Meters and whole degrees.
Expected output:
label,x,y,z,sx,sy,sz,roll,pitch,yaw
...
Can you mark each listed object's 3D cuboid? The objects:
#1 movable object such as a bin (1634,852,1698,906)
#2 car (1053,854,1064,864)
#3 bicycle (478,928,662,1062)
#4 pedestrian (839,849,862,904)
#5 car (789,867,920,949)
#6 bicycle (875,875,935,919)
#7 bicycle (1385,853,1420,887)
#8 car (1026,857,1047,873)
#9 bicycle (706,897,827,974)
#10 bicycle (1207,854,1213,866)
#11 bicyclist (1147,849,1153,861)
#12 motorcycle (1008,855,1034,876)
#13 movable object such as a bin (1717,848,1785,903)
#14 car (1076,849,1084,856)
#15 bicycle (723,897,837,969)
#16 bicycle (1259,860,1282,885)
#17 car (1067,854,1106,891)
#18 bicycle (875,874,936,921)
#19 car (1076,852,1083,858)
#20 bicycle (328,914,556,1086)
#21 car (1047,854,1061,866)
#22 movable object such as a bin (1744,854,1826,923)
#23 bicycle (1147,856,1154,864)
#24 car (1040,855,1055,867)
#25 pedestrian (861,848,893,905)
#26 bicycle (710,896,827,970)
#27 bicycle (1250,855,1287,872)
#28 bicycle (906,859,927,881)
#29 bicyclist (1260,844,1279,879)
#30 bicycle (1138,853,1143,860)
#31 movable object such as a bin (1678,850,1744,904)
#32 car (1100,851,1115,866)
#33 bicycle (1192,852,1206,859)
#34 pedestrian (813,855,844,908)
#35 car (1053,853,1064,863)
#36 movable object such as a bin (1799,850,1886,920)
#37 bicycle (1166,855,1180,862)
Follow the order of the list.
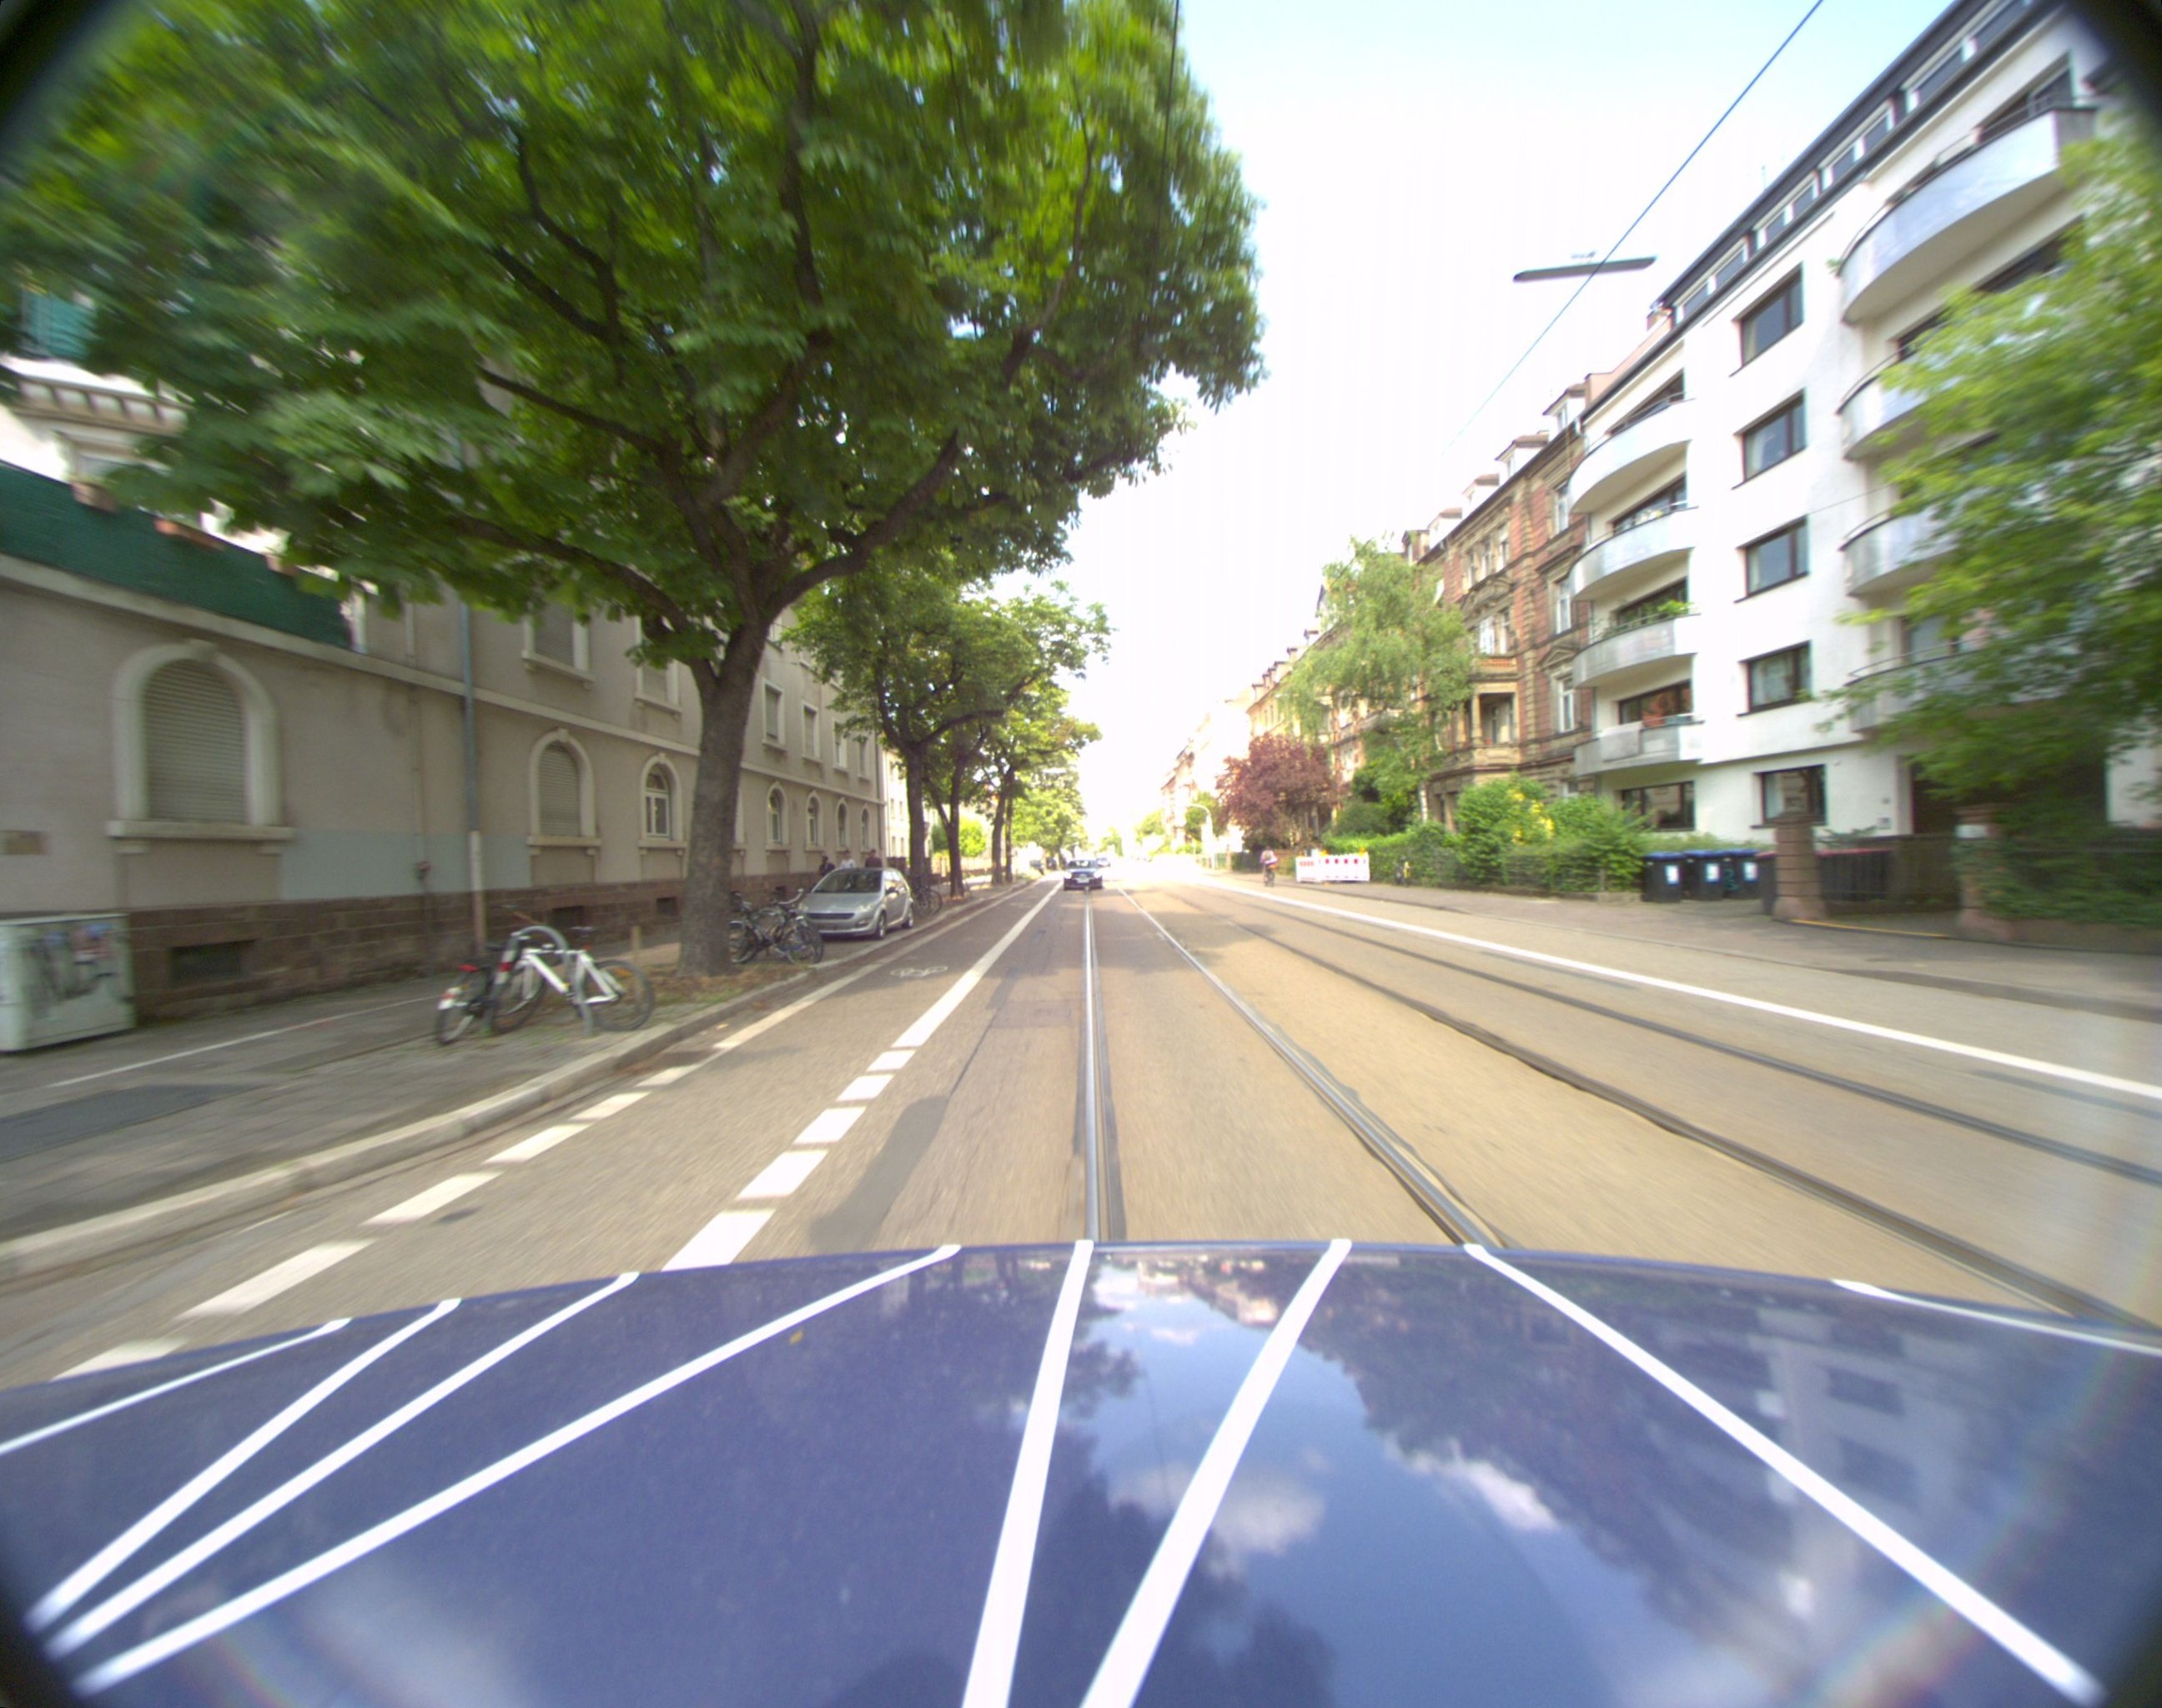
label,x,y,z,sx,sy,sz,roll,pitch,yaw
movable object such as a bin,12.365,0.512,16.078,0.774,1.101,0.733,-2,1,0
car,-3.636,0.781,122.446,1.693,1.537,3.460,-2,0,0
bicycle,-4.550,1.243,6.809,1.271,1.060,0.478,-2,1,0
pedestrian,-7.826,0.754,25.802,0.506,1.842,0.687,-2,1,0
car,-4.720,1.052,16.415,1.589,1.436,3.898,-2,0,0
bicycle,-4.893,1.196,21.136,1.490,1.146,0.518,-2,1,7
bicycle,11.196,0.523,26.509,0.413,1.130,1.819,-2,0,0
car,-4.134,1.037,71.507,1.693,1.380,4.000,-2,0,0
bicycle,-4.694,1.214,11.356,1.650,1.064,0.348,-2,1,4
bicycle,11.460,0.535,67.507,0.400,0.935,1.473,0,-2,3
bicyclist,8.377,0.154,91.998,0.614,1.490,0.743,0,1,12
motorcycle,-4.462,0.858,56.373,0.812,1.485,2.065,-2,1,-43
movable object such as a bin,14.096,0.446,16.005,0.774,1.101,0.733,-2,1,0
car,-0.302,-0.335,197.833,1.694,1.831,5.028,-2,0,-2
bicycle,-4.779,1.245,12.076,1.650,1.064,0.348,-2,1,4
bicycle,7.964,0.748,32.008,0.570,0.984,1.918,-2,0,3
car,0.239,0.821,36.026,1.693,1.568,4.156,-2,0,0
bicycle,-4.733,1.175,20.523,1.490,1.213,0.518,-2,1,7
car,-0.417,0.312,180.254,1.693,1.380,4.000,-2,0,0
bicycle,-5.524,1.188,6.735,0.586,1.151,1.835,-2,0,-7
car,-3.567,0.748,101.088,1.693,1.537,3.617,-2,0,0
movable object such as a bin,11.634,0.553,12.577,0.669,1.101,0.733,-2,1,-3
bicycle,8.385,0.672,92.028,0.607,0.936,1.756,0,1,13
car,-4.003,0.783,91.296,1.693,1.380,4.000,-2,0,0
pedestrian,-6.977,0.757,26.009,0.755,1.878,0.886,-2,1,0
bicycle,-4.812,1.215,11.731,1.650,1.064,0.348,-2,1,4
bicycle,11.507,0.589,46.629,2.133,0.931,0.586,-2,1,0
bicycle,-9.867,0.952,45.660,0.654,1.184,2.598,-3,1,1
bicyclist,7.950,0.321,32.007,0.566,1.417,0.942,-2,1,3
bicycle,9.068,0.385,116.277,0.483,0.936,1.754,0,1,-3
movable object such as a bin,13.294,0.470,16.059,0.774,1.101,0.733,-2,1,0
car,3.438,0.557,99.303,1.715,1.718,3.736,-3,1,0
bicycle,15.608,0.205,100.826,1.753,0.936,0.483,0,1,-1
pedestrian,-7.959,0.853,23.959,0.582,1.630,0.976,-2,1,0
car,-3.750,0.691,129.163,1.693,1.537,3.460,-2,0,0
movable object such as a bin,12.521,0.492,12.512,0.669,1.101,0.733,-2,1,-3
bicycle,12.108,0.626,100.406,1.750,0.936,0.484,0,1,24
